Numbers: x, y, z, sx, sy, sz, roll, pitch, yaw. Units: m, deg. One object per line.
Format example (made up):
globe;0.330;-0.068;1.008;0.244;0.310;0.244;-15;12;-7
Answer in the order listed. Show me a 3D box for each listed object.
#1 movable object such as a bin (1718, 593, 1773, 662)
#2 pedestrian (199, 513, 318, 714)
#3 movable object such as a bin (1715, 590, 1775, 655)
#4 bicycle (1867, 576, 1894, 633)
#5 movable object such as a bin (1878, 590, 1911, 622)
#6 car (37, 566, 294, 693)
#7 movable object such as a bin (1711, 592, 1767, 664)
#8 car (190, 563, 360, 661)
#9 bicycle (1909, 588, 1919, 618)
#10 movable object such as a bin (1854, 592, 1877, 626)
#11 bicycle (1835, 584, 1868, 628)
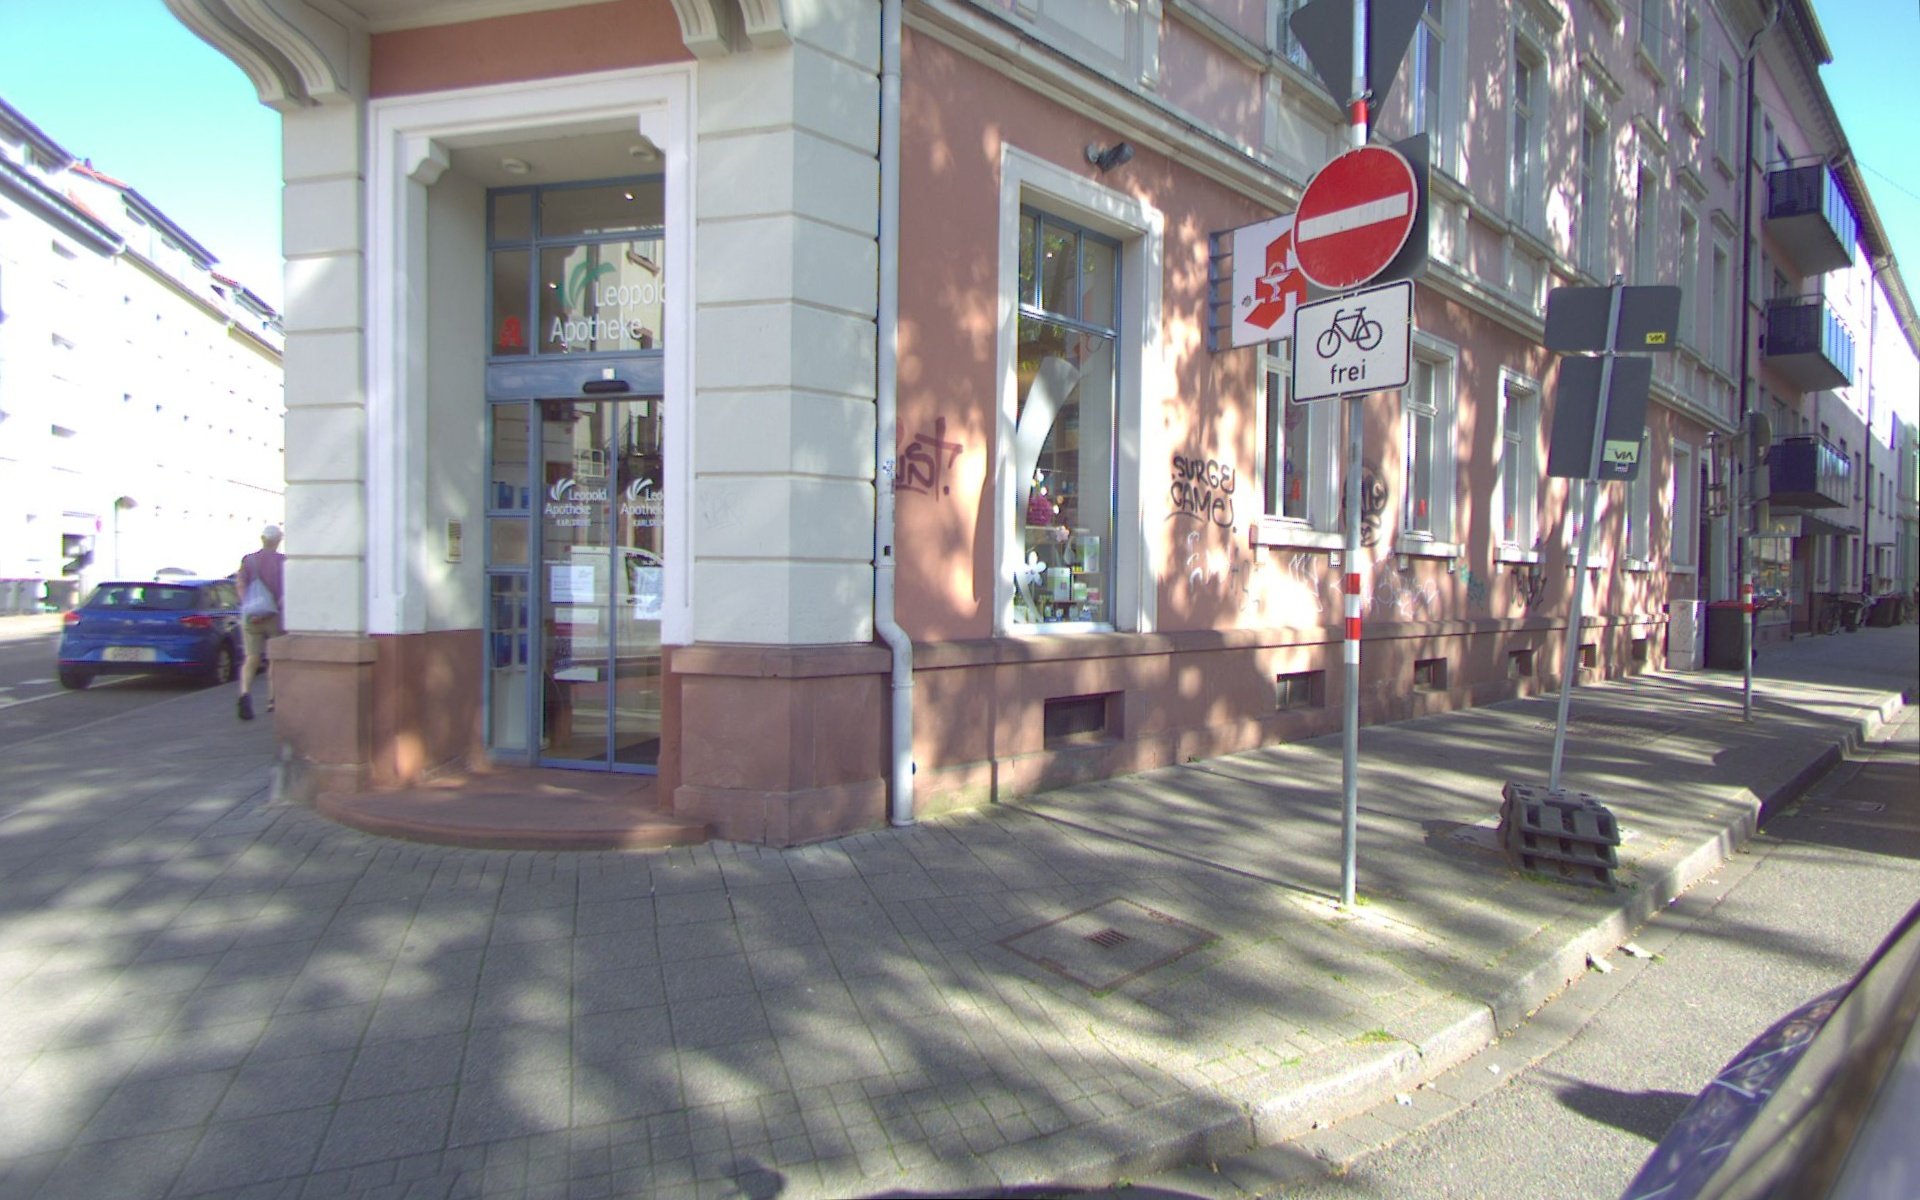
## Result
movable object such as a bin;12.989;0.446;16.737;0.602;1.071;0.570;0;4;-43
pedestrian;-6.617;0.112;9.548;0.828;1.786;0.740;-2;0;45
movable object such as a bin;14.229;0.390;18.341;0.608;1.097;0.717;0;4;-43
bicycle;29.638;0.127;32.560;2.070;1.757;0.402;0;1;-42
movable object such as a bin;31.620;0.210;34.242;0.537;1.014;0.716;0;4;-43
car;-10.757;0.313;14.028;1.671;1.451;3.648;3;1;-19
movable object such as a bin;12.552;0.433;16.308;0.643;1.097;0.570;0;4;-43
car;-12.504;0.145;18.725;1.671;1.556;3.648;3;1;-19
bicycle;37.171;0.104;39.154;1.899;1.109;0.489;-1;1;-42
movable object such as a bin;26.112;0.259;29.198;0.297;0.951;0.415;0;4;-43
bicycle;24.213;0.142;27.473;1.990;1.165;0.402;-1;1;-42
